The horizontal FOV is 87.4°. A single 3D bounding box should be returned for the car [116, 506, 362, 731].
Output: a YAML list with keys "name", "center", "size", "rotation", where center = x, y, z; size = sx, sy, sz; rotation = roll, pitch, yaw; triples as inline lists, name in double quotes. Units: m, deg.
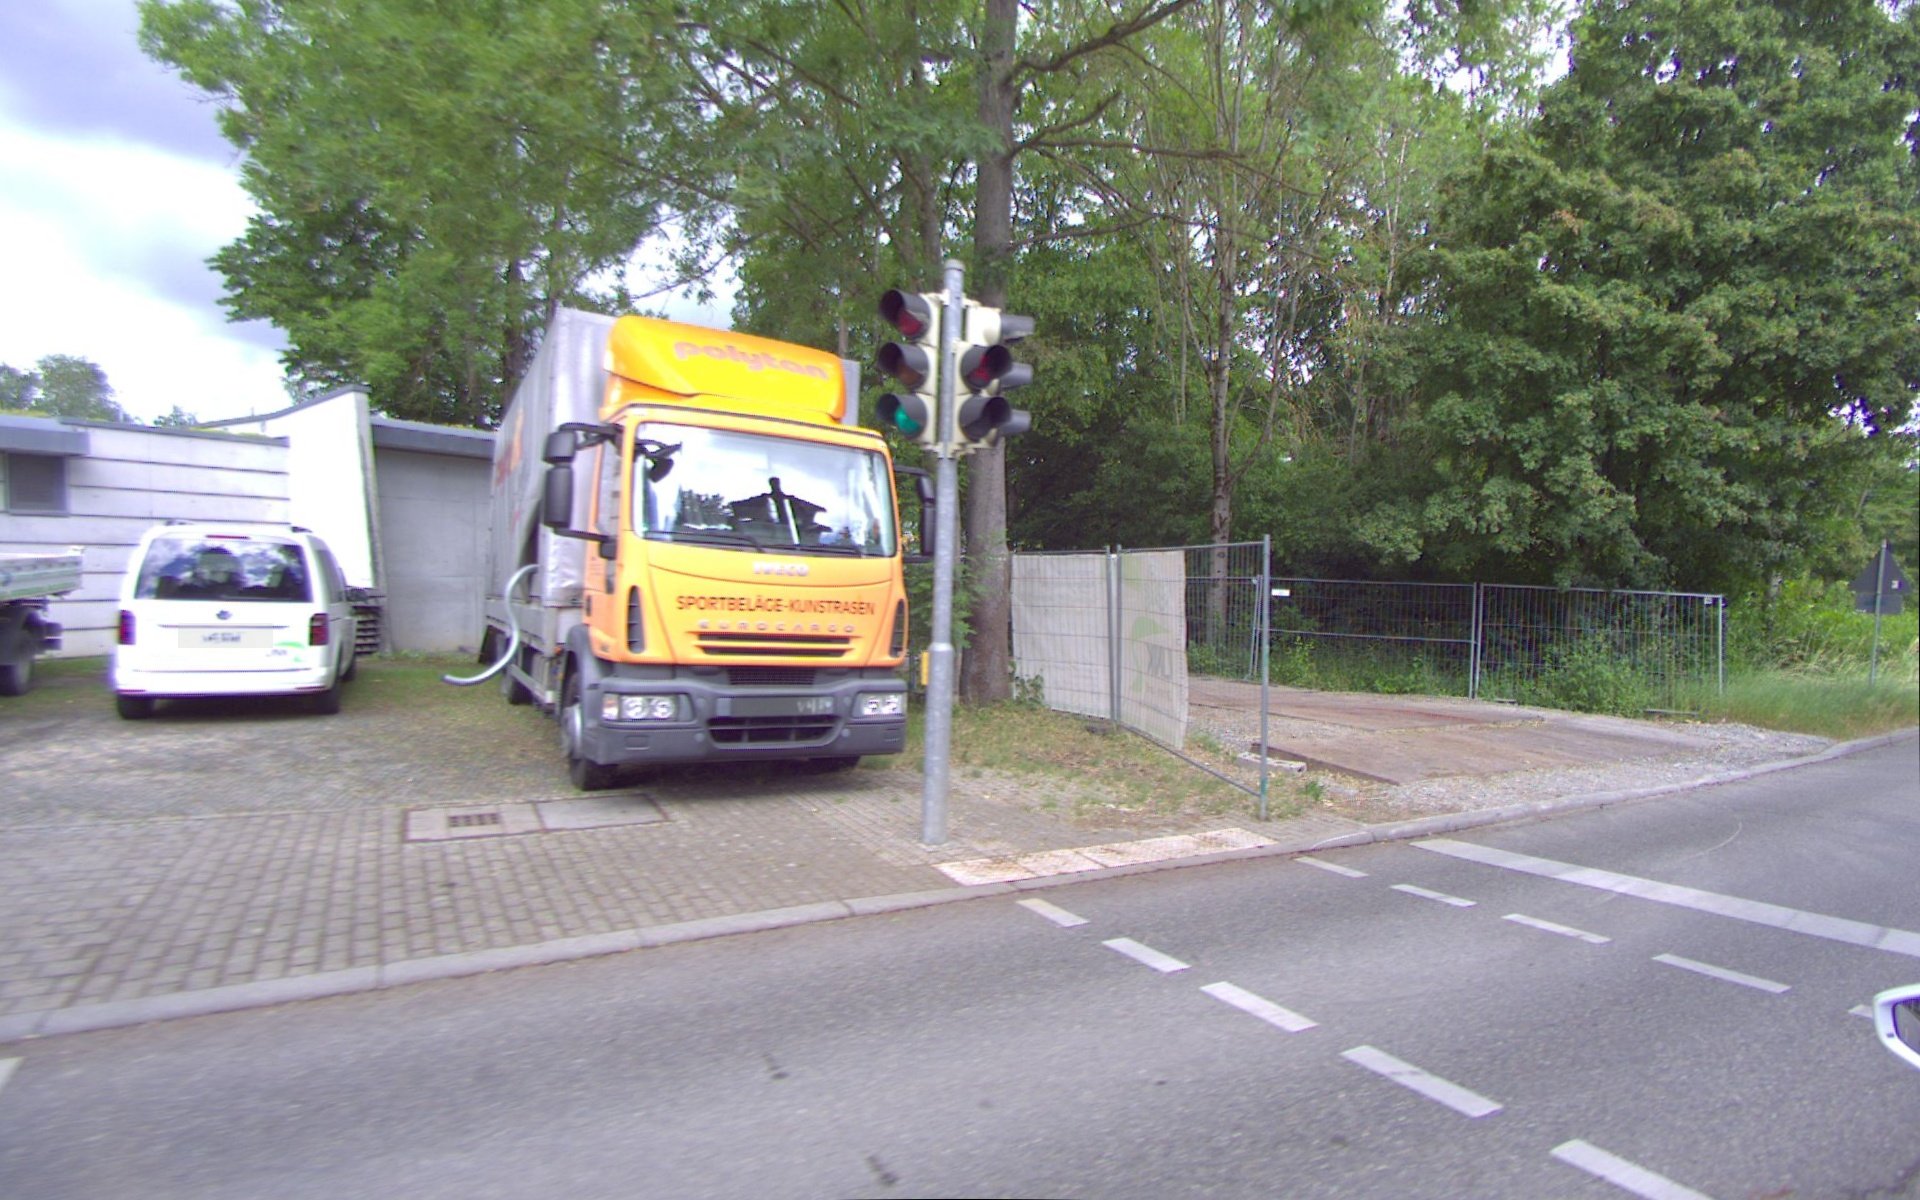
- name: "car"
  center: [-7.500, 0.074, 10.809]
  size: [1.761, 1.935, 3.966]
  rotation: [1, 3, -30]

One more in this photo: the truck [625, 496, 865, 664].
- name: "truck"
  center: [-4.920, -0.446, 22.402]
  size: [5.834, 3.243, 2.438]
  rotation: [1, 2, 44]

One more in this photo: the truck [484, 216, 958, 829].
- name: "truck"
  center: [-3.328, -0.529, 10.547]
  size: [2.533, 3.578, 9.192]
  rotation: [2, 1, -28]

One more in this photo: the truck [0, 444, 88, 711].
- name: "truck"
  center: [-9.677, -0.231, 8.650]
  size: [2.099, 2.448, 6.352]
  rotation: [2, 2, -31]
